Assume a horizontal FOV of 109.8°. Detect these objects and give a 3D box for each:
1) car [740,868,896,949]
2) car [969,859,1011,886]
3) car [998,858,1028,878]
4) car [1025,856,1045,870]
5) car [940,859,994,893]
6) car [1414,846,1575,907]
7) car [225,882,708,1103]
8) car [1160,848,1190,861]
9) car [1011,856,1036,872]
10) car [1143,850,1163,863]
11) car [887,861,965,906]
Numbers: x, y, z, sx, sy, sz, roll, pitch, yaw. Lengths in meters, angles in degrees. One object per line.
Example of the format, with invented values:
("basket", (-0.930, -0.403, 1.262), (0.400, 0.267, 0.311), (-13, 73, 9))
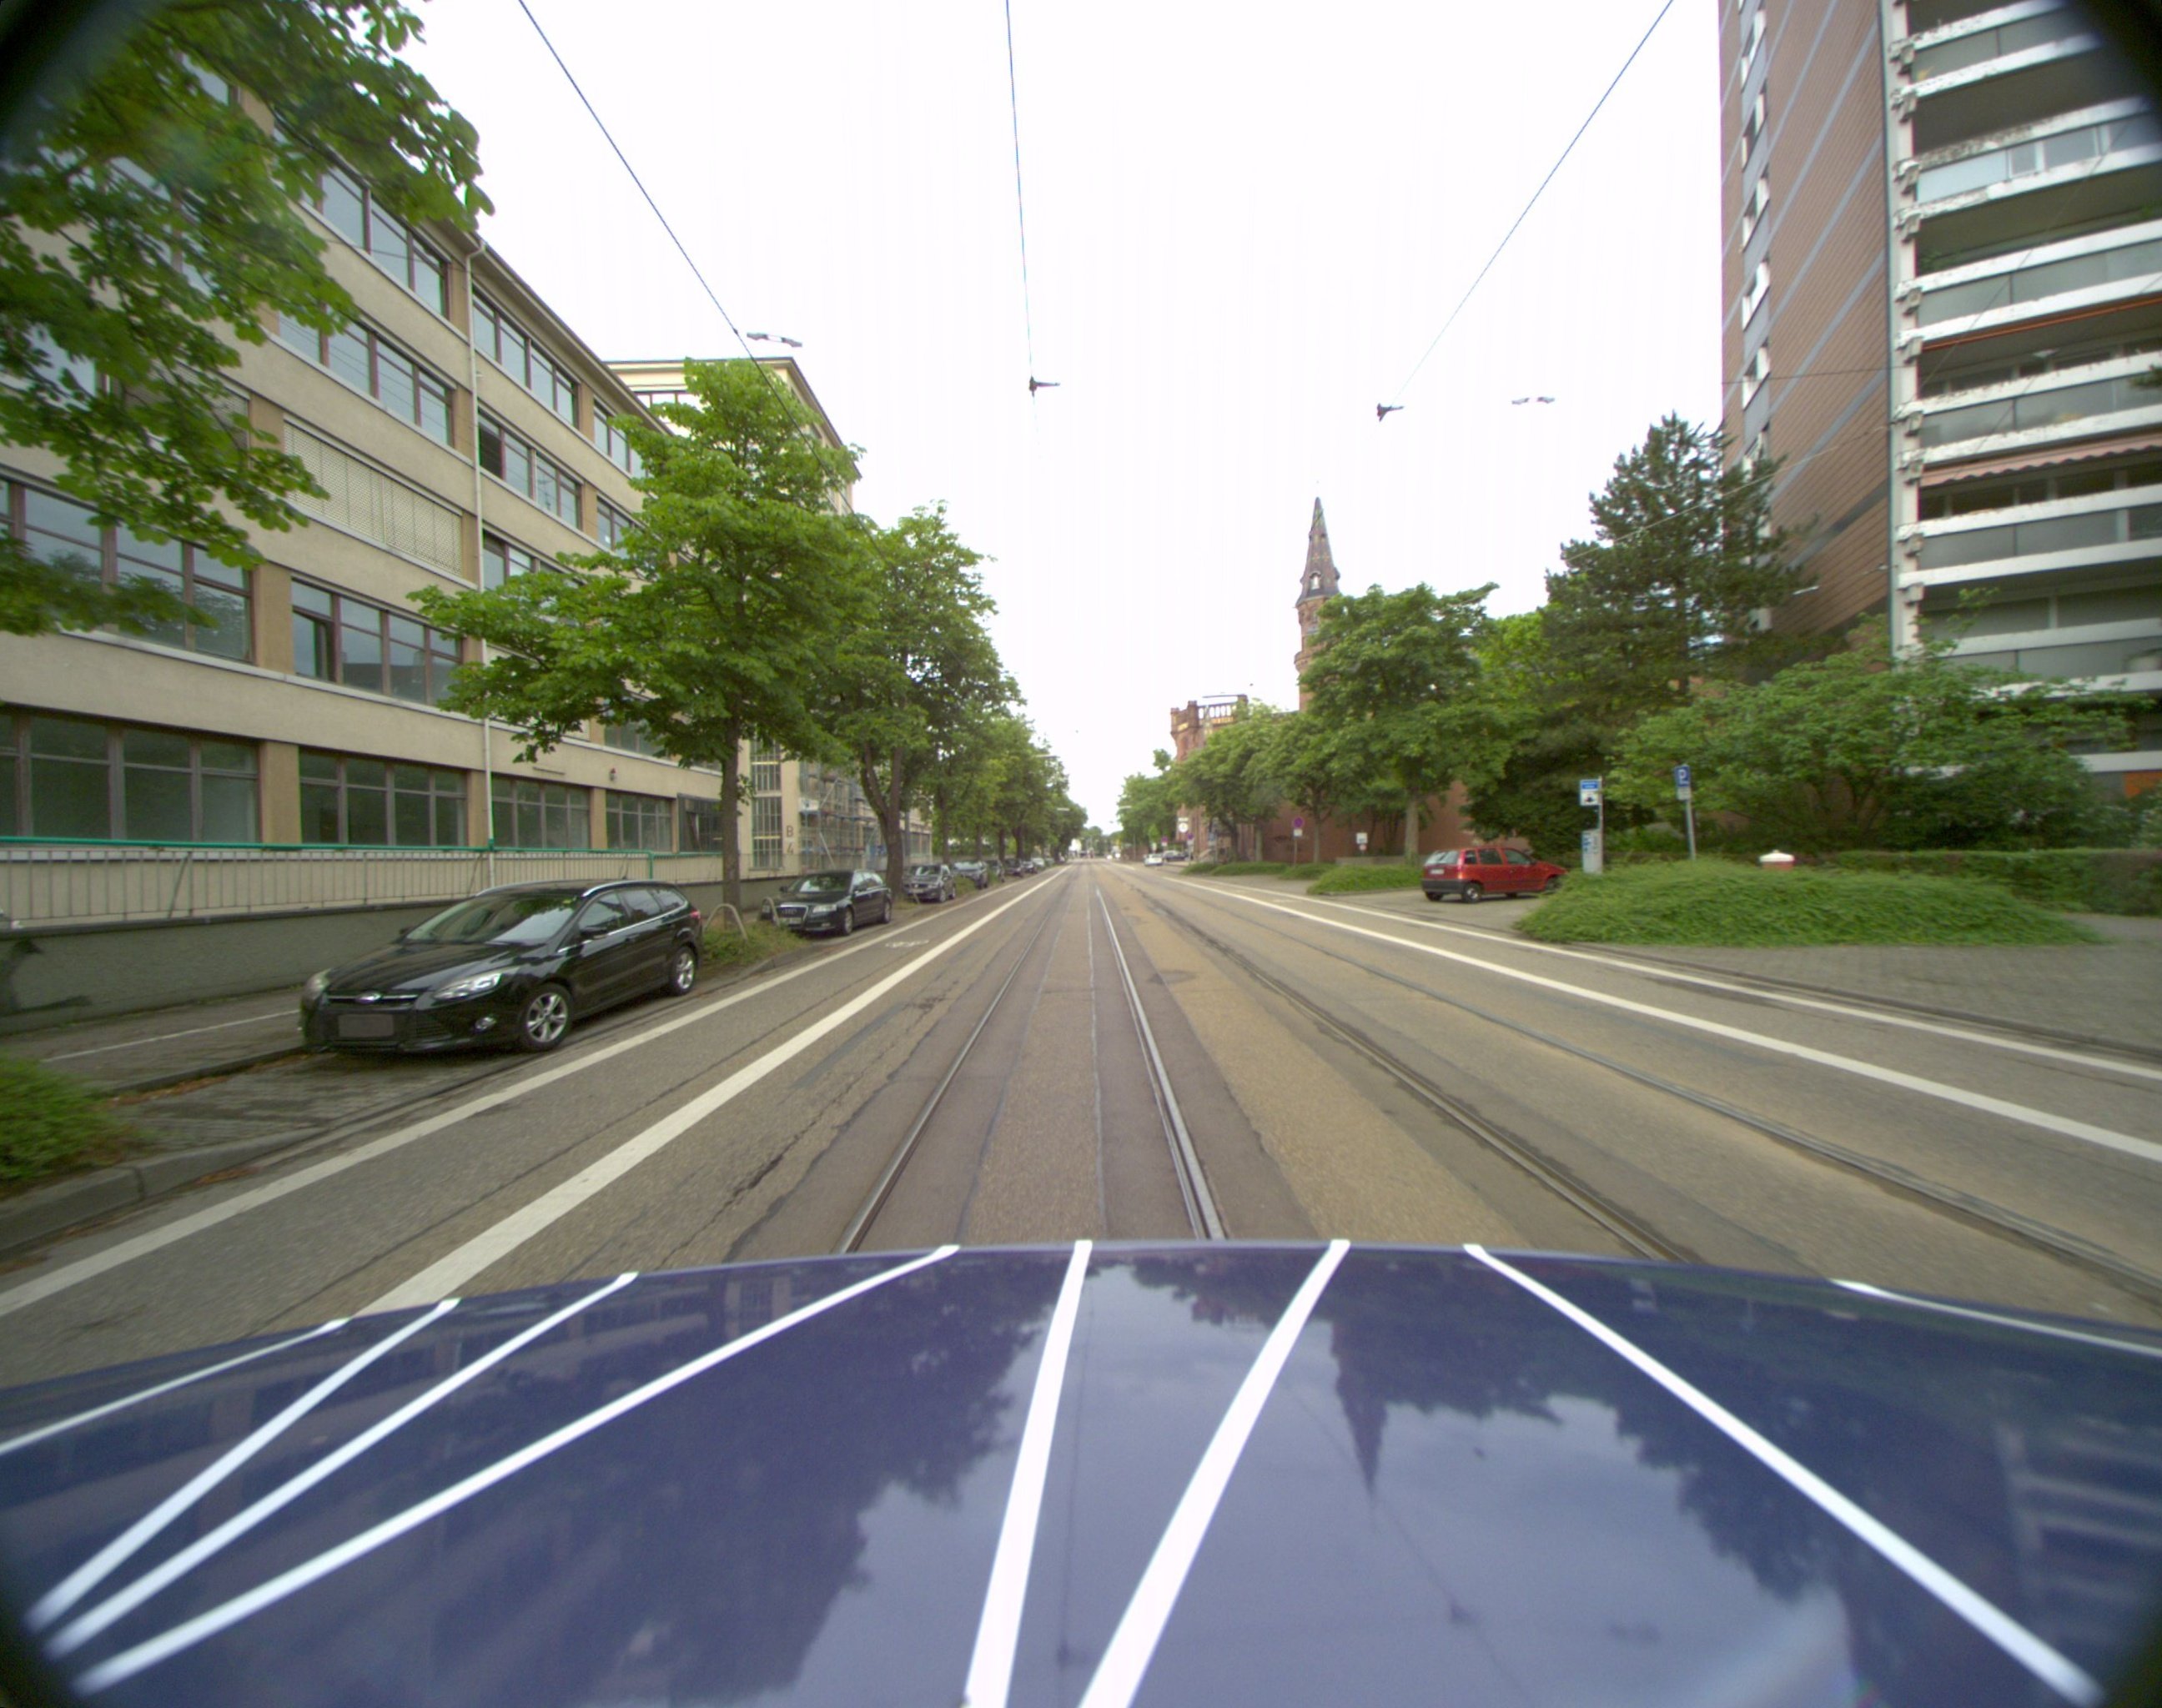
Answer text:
("car", (-5.823, 1.144, 17.473), (1.998, 1.452, 4.393), (-2, 0, 0))
("car", (-5.486, 1.090, 46.403), (1.998, 1.452, 4.393), (-2, 0, 0))
("car", (-5.436, 1.110, 61.252), (1.998, 1.452, 4.393), (-2, 0, 0))
("car", (-5.195, 0.961, 86.800), (1.998, 1.452, 4.393), (-2, 0, 0))
("car", (-5.655, 1.061, 38.354), (1.998, 1.452, 4.393), (-2, 0, 0))
("car", (10.822, 0.538, 19.963), (3.504, 1.369, 1.632), (-2, 2, -13))
("car", (-5.731, 1.145, 7.916), (1.825, 1.491, 4.104), (0, 1, -3))
("car", (12.453, 0.024, 101.211), (3.844, 1.521, 1.798), (-2, 0, 5))
("car", (-5.500, 0.935, 72.937), (1.998, 1.452, 4.393), (-2, 0, 0))
("car", (8.928, 0.266, 94.397), (1.998, 1.521, 4.000), (-2, 0, 0))
("car", (-5.791, 1.074, 28.962), (1.998, 1.452, 4.393), (-2, 0, 0))
